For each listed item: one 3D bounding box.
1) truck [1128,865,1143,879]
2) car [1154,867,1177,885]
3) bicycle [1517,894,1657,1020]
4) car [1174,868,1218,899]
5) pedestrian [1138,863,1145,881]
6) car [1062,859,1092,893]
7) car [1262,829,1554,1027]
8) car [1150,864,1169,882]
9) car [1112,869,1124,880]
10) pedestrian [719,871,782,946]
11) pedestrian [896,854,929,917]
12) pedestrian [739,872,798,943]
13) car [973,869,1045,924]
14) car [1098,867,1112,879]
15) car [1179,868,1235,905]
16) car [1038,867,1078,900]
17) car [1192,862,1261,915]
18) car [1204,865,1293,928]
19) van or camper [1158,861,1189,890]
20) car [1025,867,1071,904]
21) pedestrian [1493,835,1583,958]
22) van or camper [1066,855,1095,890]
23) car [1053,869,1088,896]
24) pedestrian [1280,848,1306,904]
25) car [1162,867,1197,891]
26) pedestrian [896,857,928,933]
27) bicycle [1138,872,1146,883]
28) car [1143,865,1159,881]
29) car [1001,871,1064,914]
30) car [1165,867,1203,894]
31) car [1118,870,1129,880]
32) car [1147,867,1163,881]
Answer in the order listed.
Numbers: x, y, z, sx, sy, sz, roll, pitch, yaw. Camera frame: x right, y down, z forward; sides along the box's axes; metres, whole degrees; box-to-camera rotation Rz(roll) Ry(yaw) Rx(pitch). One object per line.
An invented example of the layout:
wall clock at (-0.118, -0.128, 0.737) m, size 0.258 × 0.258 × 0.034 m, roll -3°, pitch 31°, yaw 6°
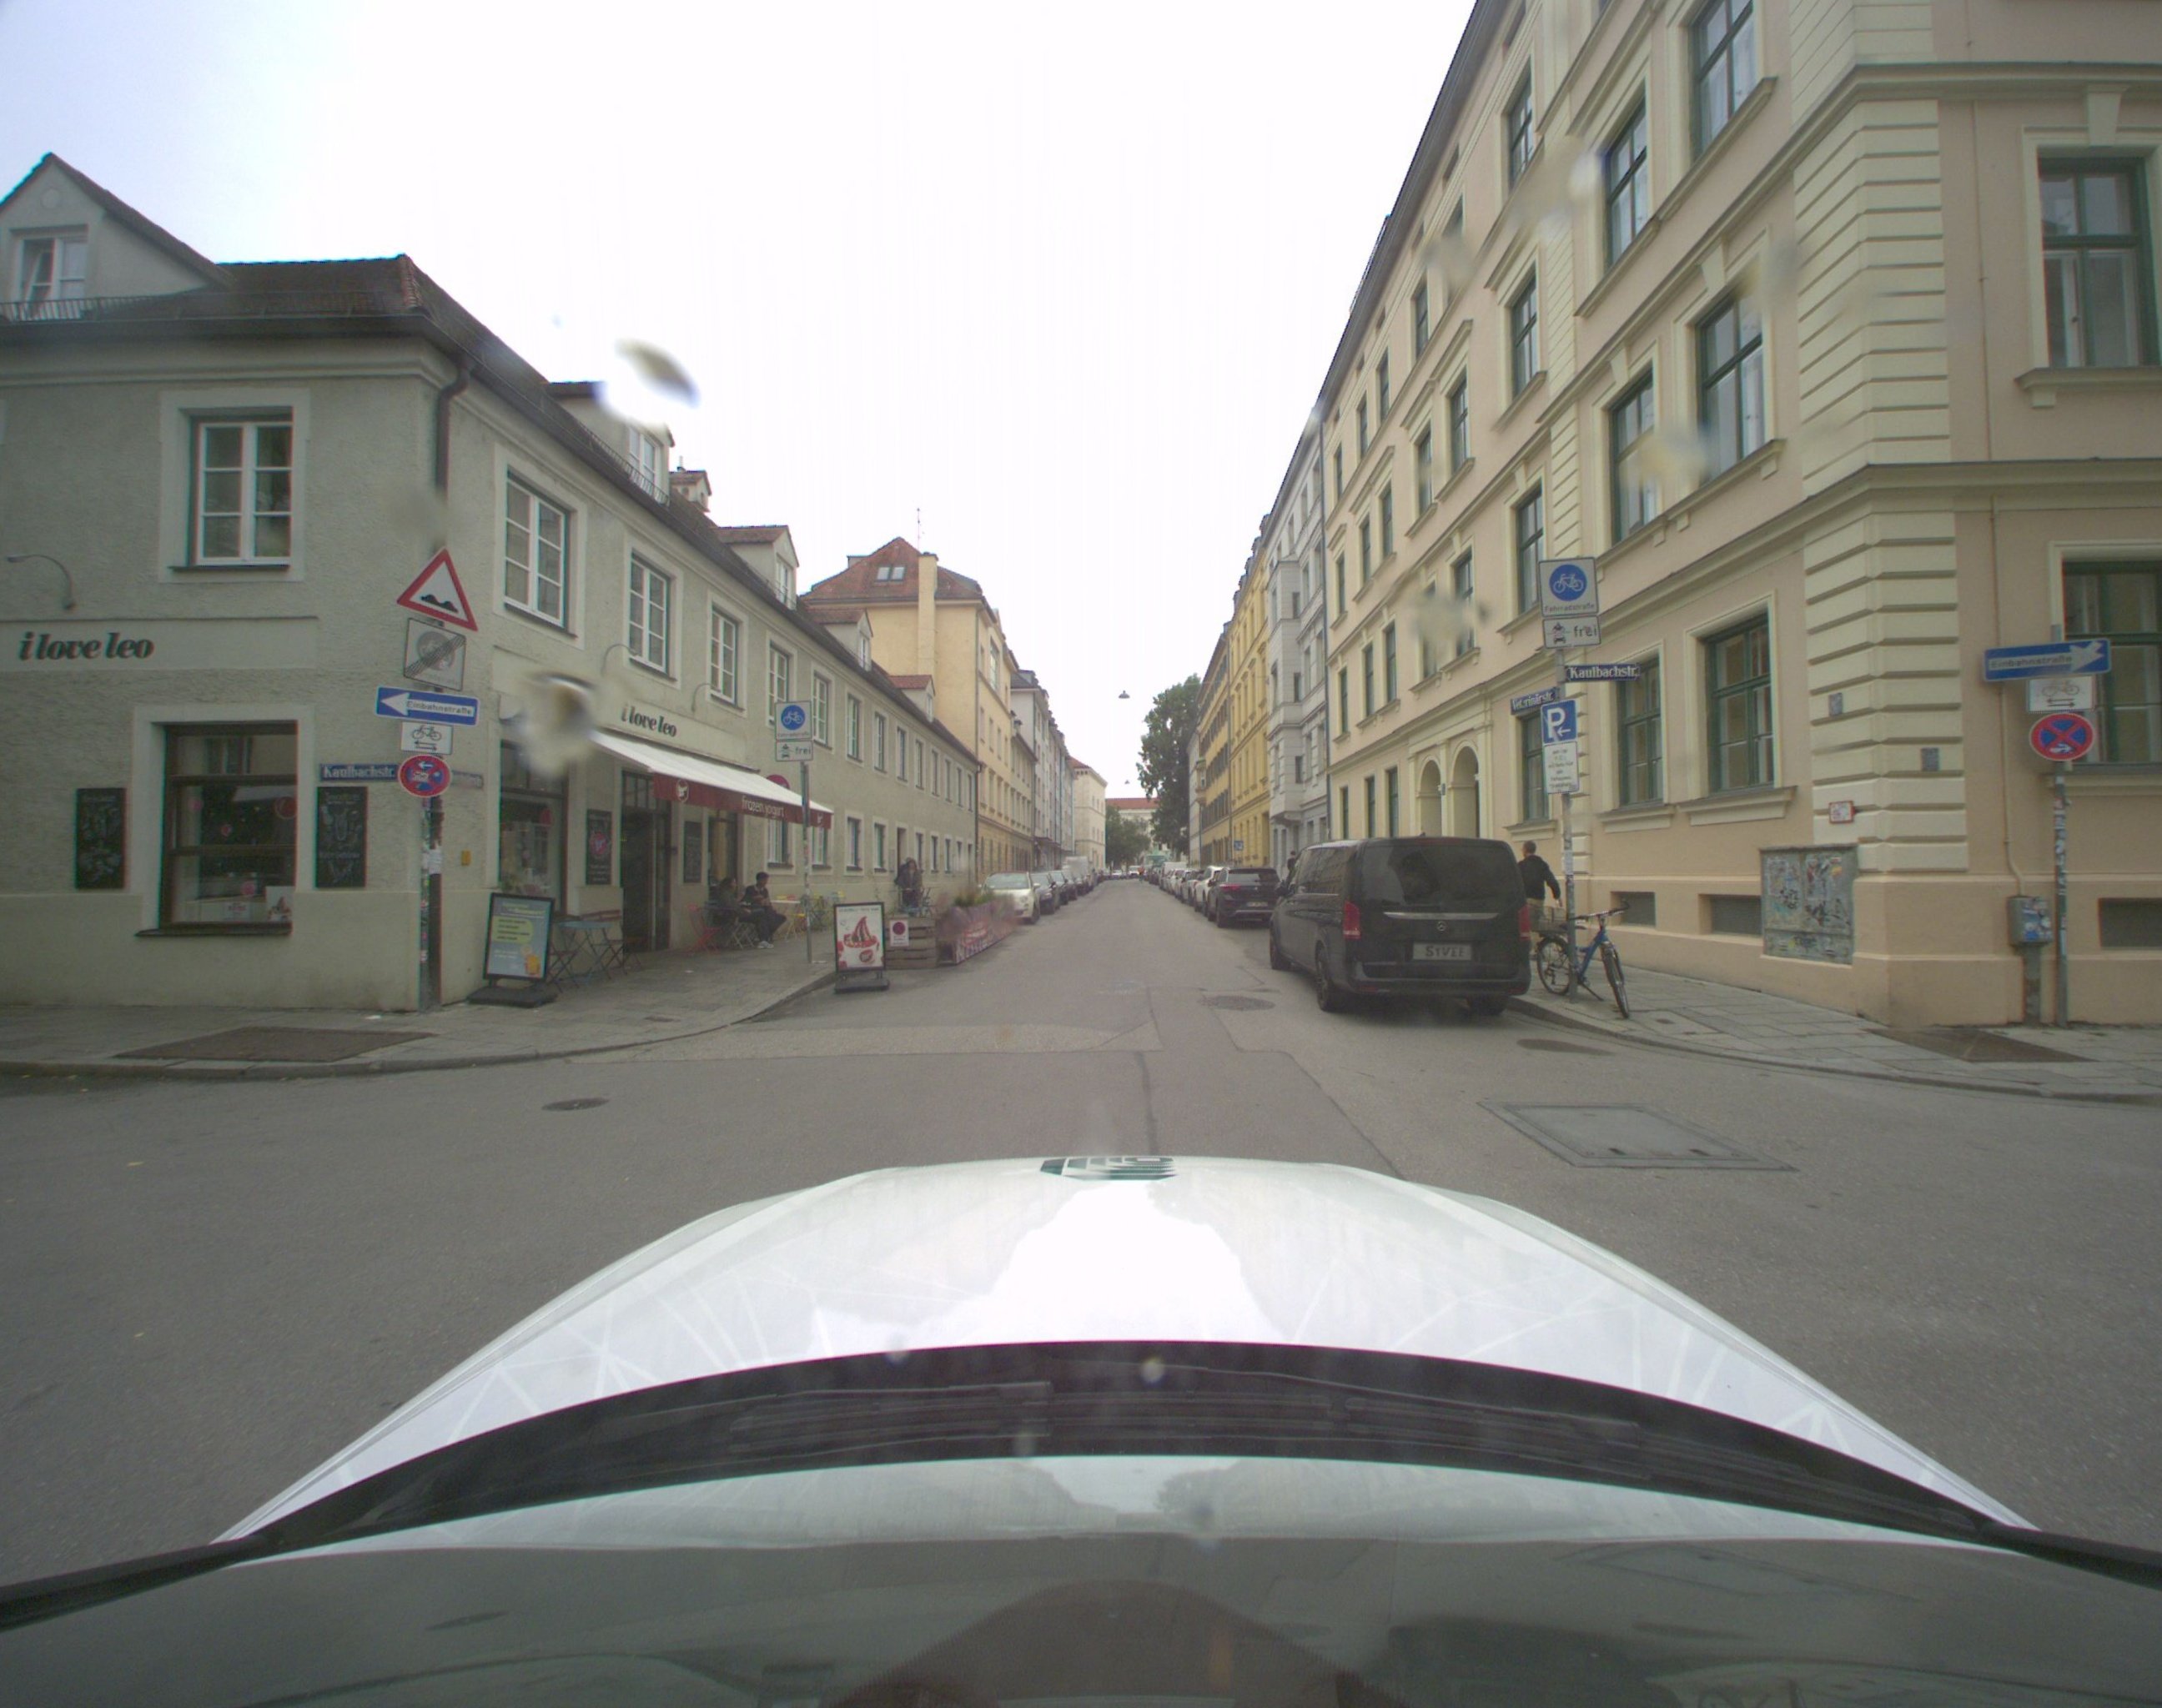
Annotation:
truck at (9.025, 2.976, 134.178) m, size 2.109 × 2.247 × 6.197 m, roll -1°, pitch -2°, yaw 8°
car at (7.218, 1.866, 69.931) m, size 1.804 × 1.465 × 4.249 m, roll 0°, pitch -1°, yaw 3°
bicycle at (5.261, 1.024, 8.581) m, size 0.463 × 1.052 × 1.731 m, roll -3°, pitch 1°, yaw 4°
car at (5.423, 1.372, 38.959) m, size 1.701 × 1.409 × 4.818 m, roll 0°, pitch -1°, yaw 3°
pedestrian at (5.984, 1.798, 80.115) m, size 0.639 × 1.714 × 0.843 m, roll -1°, pitch -3°, yaw 4°
car at (-0.286, 1.353, 50.163) m, size 1.749 × 1.995 × 4.623 m, roll 0°, pitch -1°, yaw -1°
car at (3.673, 0.734, 10.361) m, size 1.988 × 1.864 × 5.259 m, roll 0°, pitch -1°, yaw 5°
car at (7.882, 1.927, 81.766) m, size 1.804 × 1.798 × 4.250 m, roll 0°, pitch -1°, yaw 4°
car at (5.975, 3.311, 131.552) m, size 1.698 × 1.581 × 3.869 m, roll -2°, pitch -1°, yaw 6°
pedestrian at (-5.851, 0.963, 14.461) m, size 0.800 × 1.290 × 0.694 m, roll -1°, pitch -3°, yaw 3°
pedestrian at (-5.185, 0.982, 25.113) m, size 0.819 × 1.898 × 0.828 m, roll -1°, pitch -3°, yaw 2°
pedestrian at (-5.818, 0.988, 15.185) m, size 0.800 × 1.290 × 0.694 m, roll -1°, pitch -3°, yaw 3°
car at (-2.031, 1.179, 23.877) m, size 1.749 × 1.475 × 3.713 m, roll 0°, pitch -1°, yaw 0°
car at (3.524, 2.716, 117.180) m, size 1.698 × 1.609 × 3.868 m, roll -2°, pitch -1°, yaw 5°
car at (5.067, 1.285, 33.279) m, size 1.702 × 1.405 × 4.207 m, roll 0°, pitch -1°, yaw 1°
car at (-1.097, 1.401, 40.042) m, size 1.810 × 1.441 × 4.130 m, roll -2°, pitch -1°, yaw -1°
car at (4.729, 1.102, 26.991) m, size 1.735 × 1.584 × 4.470 m, roll 0°, pitch -1°, yaw 3°
car at (4.359, 1.075, 21.771) m, size 1.747 × 1.521 × 4.278 m, roll 0°, pitch -1°, yaw 3°
van or camper at (6.244, 1.436, 55.448) m, size 1.826 × 1.872 × 5.083 m, roll 0°, pitch -1°, yaw 3°
car at (-1.376, 1.326, 35.028) m, size 1.748 × 1.496 × 4.200 m, roll 0°, pitch -1°, yaw 1°
pedestrian at (6.693, 0.619, 11.980) m, size 0.716 × 1.717 × 1.004 m, roll -1°, pitch -3°, yaw 2°
van or camper at (-0.010, 1.267, 55.406) m, size 1.748 × 2.281 × 5.275 m, roll 0°, pitch -1°, yaw 2°
car at (-0.520, 1.533, 45.042) m, size 1.748 × 1.409 × 4.104 m, roll 0°, pitch -1°, yaw 2°
pedestrian at (7.830, 0.823, 30.083) m, size 0.666 × 1.981 × 0.709 m, roll -4°, pitch -3°, yaw 3°
car at (6.062, 1.546, 50.492) m, size 1.702 × 1.392 × 4.207 m, roll 0°, pitch -1°, yaw 1°
pedestrian at (-4.062, 0.985, 19.563) m, size 0.526 × 1.782 × 0.878 m, roll -1°, pitch -3°, yaw 3°
bicycle at (5.991, 2.298, 80.011) m, size 0.672 × 1.095 × 1.762 m, roll -1°, pitch -2°, yaw 4°
car at (8.763, 2.340, 101.988) m, size 1.843 × 1.920 × 4.773 m, roll -1°, pitch -1°, yaw 4°
car at (-1.652, 1.324, 29.102) m, size 1.791 × 1.339 × 4.688 m, roll 0°, pitch -1°, yaw 2°
car at (5.738, 1.456, 45.637) m, size 1.702 × 1.454 × 4.097 m, roll 0°, pitch -1°, yaw 1°
car at (7.176, 3.536, 137.638) m, size 1.698 × 1.581 × 3.869 m, roll -2°, pitch -1°, yaw 6°
car at (8.690, 2.333, 96.103) m, size 1.804 × 1.614 × 4.159 m, roll -1°, pitch -1°, yaw 4°
